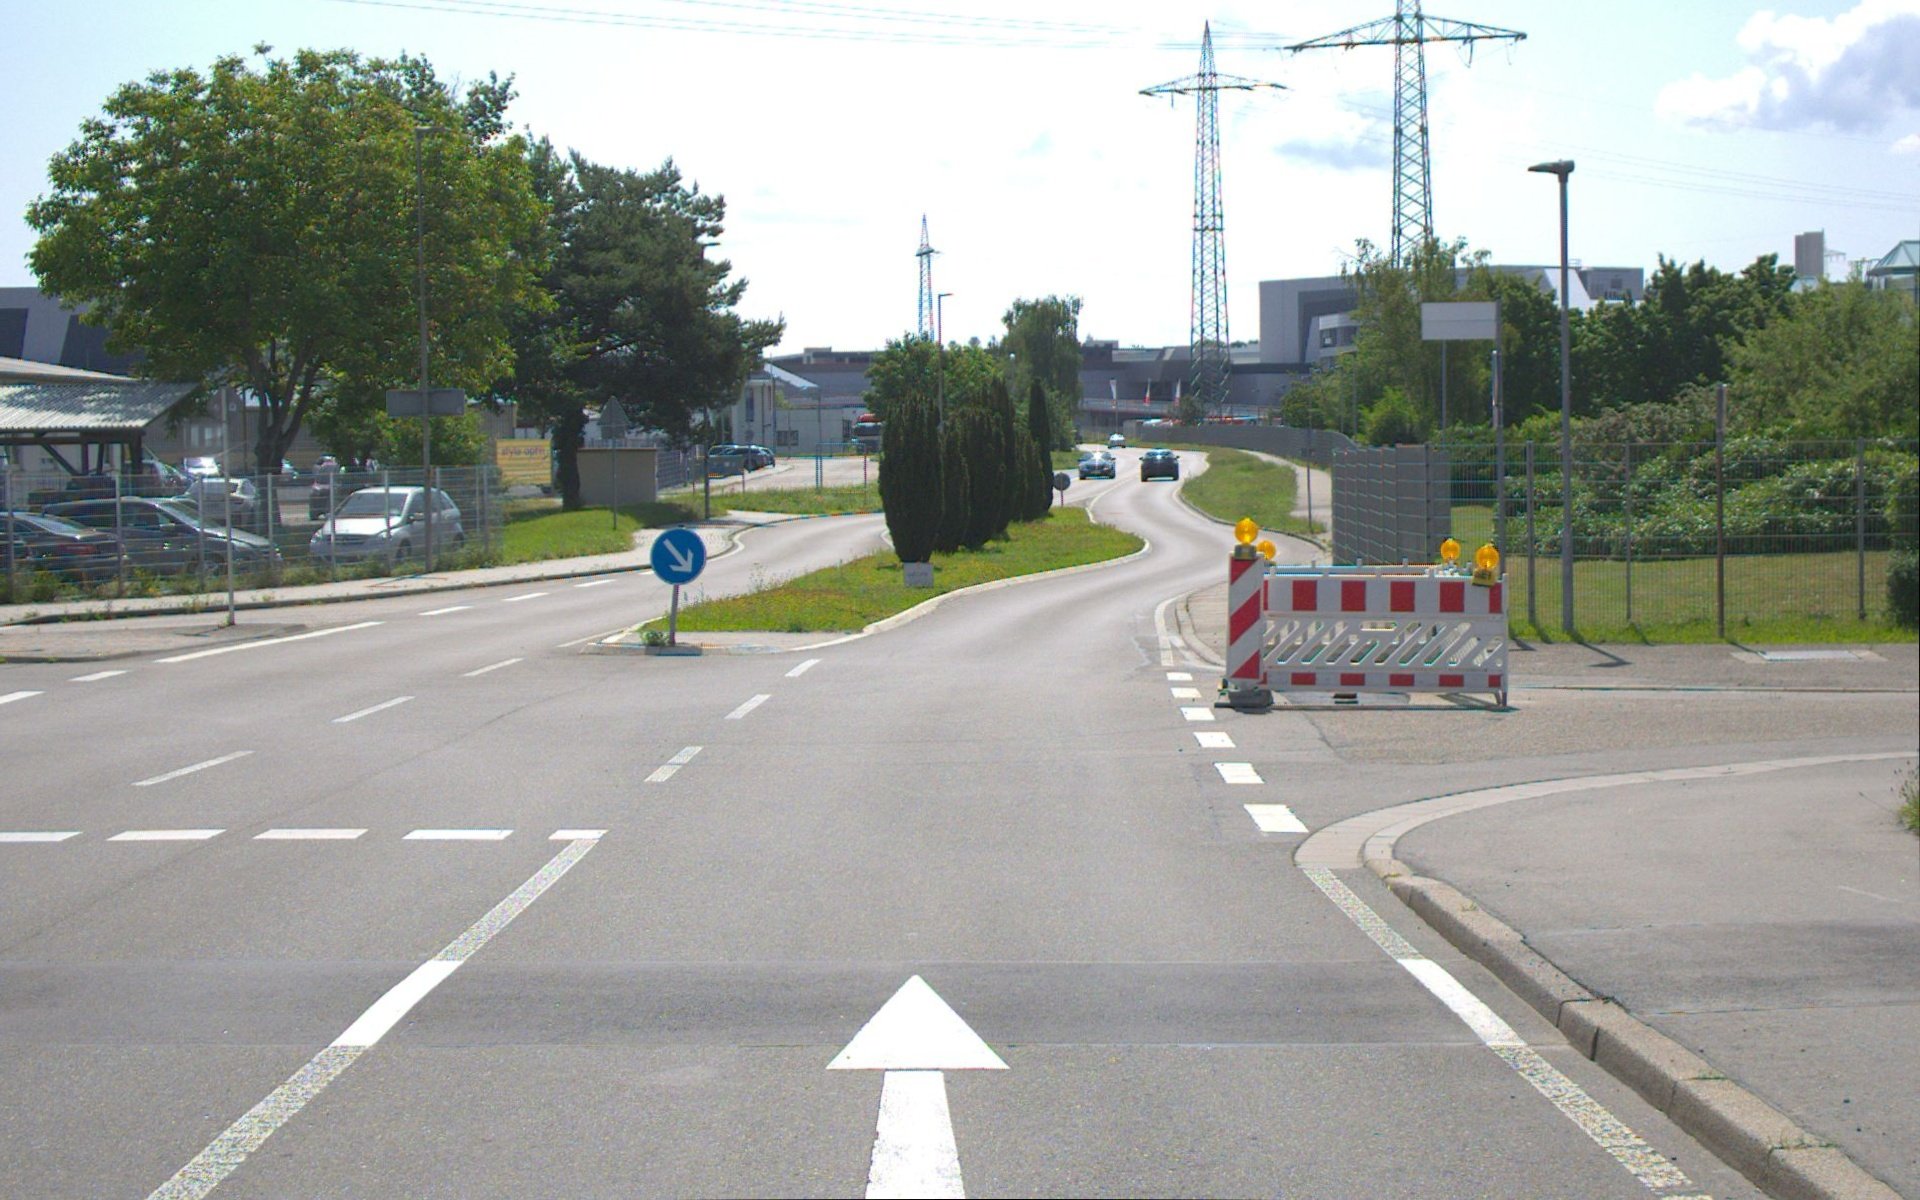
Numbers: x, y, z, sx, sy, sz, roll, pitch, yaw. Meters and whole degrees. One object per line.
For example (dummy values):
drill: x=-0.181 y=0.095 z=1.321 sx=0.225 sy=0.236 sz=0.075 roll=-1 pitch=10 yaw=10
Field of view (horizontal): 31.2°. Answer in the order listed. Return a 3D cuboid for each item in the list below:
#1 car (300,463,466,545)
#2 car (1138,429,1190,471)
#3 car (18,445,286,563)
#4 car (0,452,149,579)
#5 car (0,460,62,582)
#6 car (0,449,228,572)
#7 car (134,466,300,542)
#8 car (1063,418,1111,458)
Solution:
car: x=-10.988 y=-1.859 z=65.700 sx=1.830 sy=1.512 sz=3.586 roll=0 pitch=2 yaw=14
car: x=10.055 y=-7.394 z=169.597 sx=2.272 sy=1.940 sz=4.665 roll=3 pitch=2 yaw=1
car: x=-13.775 y=-1.659 z=58.665 sx=3.991 sy=1.897 sz=1.998 roll=1 pitch=4 yaw=21
car: x=-15.088 y=-1.373 z=54.453 sx=3.993 sy=1.897 sz=1.997 roll=2 pitch=4 yaw=27
car: x=-15.814 y=-1.229 z=52.178 sx=3.994 sy=1.774 sz=1.997 roll=2 pitch=4 yaw=31
car: x=-14.304 y=-1.502 z=56.526 sx=3.992 sy=1.897 sz=1.998 roll=2 pitch=4 yaw=23
car: x=-18.557 y=-2.421 z=85.984 sx=3.986 sy=1.844 sz=1.835 roll=-1 pitch=2 yaw=-11
car: x=6.728 y=-8.593 z=181.952 sx=2.491 sy=2.006 sz=4.666 roll=0 pitch=4 yaw=3
